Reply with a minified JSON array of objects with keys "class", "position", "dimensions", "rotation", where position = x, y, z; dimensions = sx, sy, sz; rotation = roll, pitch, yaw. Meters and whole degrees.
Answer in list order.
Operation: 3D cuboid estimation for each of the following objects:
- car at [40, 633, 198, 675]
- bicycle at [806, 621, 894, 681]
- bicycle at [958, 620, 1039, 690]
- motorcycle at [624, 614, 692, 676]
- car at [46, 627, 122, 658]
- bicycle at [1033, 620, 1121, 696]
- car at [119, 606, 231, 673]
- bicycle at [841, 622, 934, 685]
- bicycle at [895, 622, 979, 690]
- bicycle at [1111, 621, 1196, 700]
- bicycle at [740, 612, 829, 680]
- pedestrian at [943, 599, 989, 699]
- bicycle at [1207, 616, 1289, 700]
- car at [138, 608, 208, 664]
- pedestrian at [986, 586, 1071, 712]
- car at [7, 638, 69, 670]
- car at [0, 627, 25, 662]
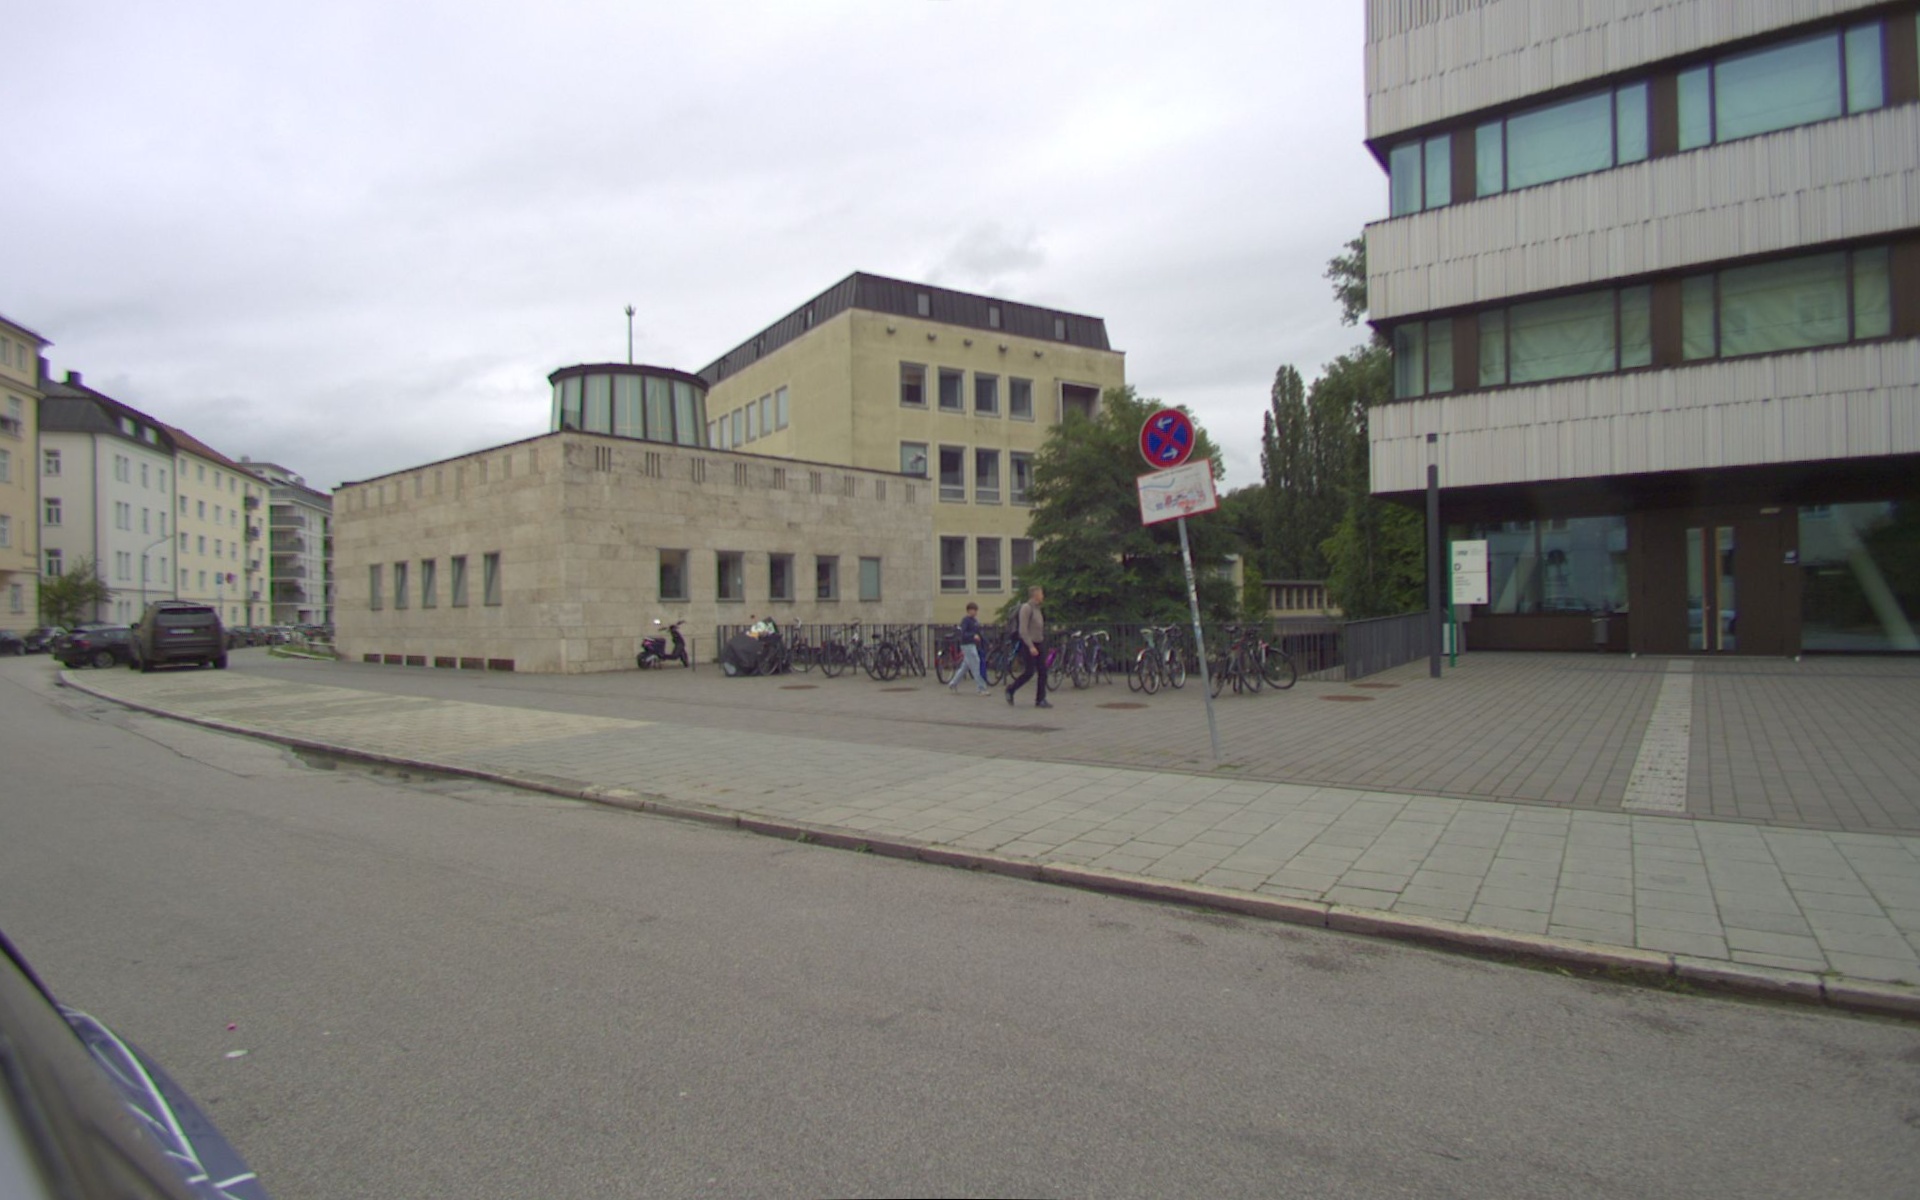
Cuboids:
[{"class":"car","position":[-29.678,1.882,35.882],"dimensions":[1.735,1.384,3.983],"rotation":[0,-2,18]},{"class":"bicycle","position":[-2.347,1.071,21.793],"dimensions":[0.616,1.119,2.026],"rotation":[-3,0,38]},{"class":"bicycle","position":[0.736,0.993,18.633],"dimensions":[0.614,1.119,2.032],"rotation":[-3,0,29]},{"class":"motorcycle","position":[-7.479,1.098,25.117],"dimensions":[0.514,1.416,1.549],"rotation":[-3,0,37]},{"class":"car","position":[-53.608,2.593,62.019],"dimensions":[1.901,1.743,4.701],"rotation":[-3,-1,-20]},{"class":"bicycle","position":[2.040,0.968,17.379],"dimensions":[0.615,1.119,2.029],"rotation":[-3,0,33]},{"class":"car","position":[-23.103,1.153,29.701],"dimensions":[4.816,1.785,1.971],"rotation":[-3,-1,45]},{"class":"bicycle","position":[-1.445,1.057,20.462],"dimensions":[0.616,1.119,2.025],"rotation":[-3,0,39]},{"class":"bicycle","position":[-0.405,1.035,19.144],"dimensions":[0.614,1.119,2.032],"rotation":[-3,0,29]},{"class":"bicycle","position":[3.210,0.960,16.617],"dimensions":[0.615,1.119,2.029],"rotation":[-3,0,33]},{"class":"bicycle","position":[-3.860,1.000,22.452],"dimensions":[0.612,1.362,2.080],"rotation":[-3,0,35]},{"class":"pedestrian","position":[0.105,0.802,16.855],"dimensions":[0.600,1.613,0.642],"rotation":[-3,0,11]},{"class":"bicycle","position":[4.465,0.859,15.605],"dimensions":[0.615,1.119,2.029],"rotation":[-3,0,33]},{"class":"car","position":[-38.346,1.726,49.424],"dimensions":[2.114,2.594,6.228],"rotation":[1,-2,-33]},{"class":"pedestrian","position":[1.022,0.699,14.967],"dimensions":[1.009,1.796,0.782],"rotation":[-1,1,25]},{"class":"car","position":[-51.678,3.025,56.768],"dimensions":[1.487,1.568,2.871],"rotation":[-3,0,-18]},{"class":"car","position":[-49.535,2.297,51.274],"dimensions":[1.811,1.743,3.742],"rotation":[-3,0,-20]}]
